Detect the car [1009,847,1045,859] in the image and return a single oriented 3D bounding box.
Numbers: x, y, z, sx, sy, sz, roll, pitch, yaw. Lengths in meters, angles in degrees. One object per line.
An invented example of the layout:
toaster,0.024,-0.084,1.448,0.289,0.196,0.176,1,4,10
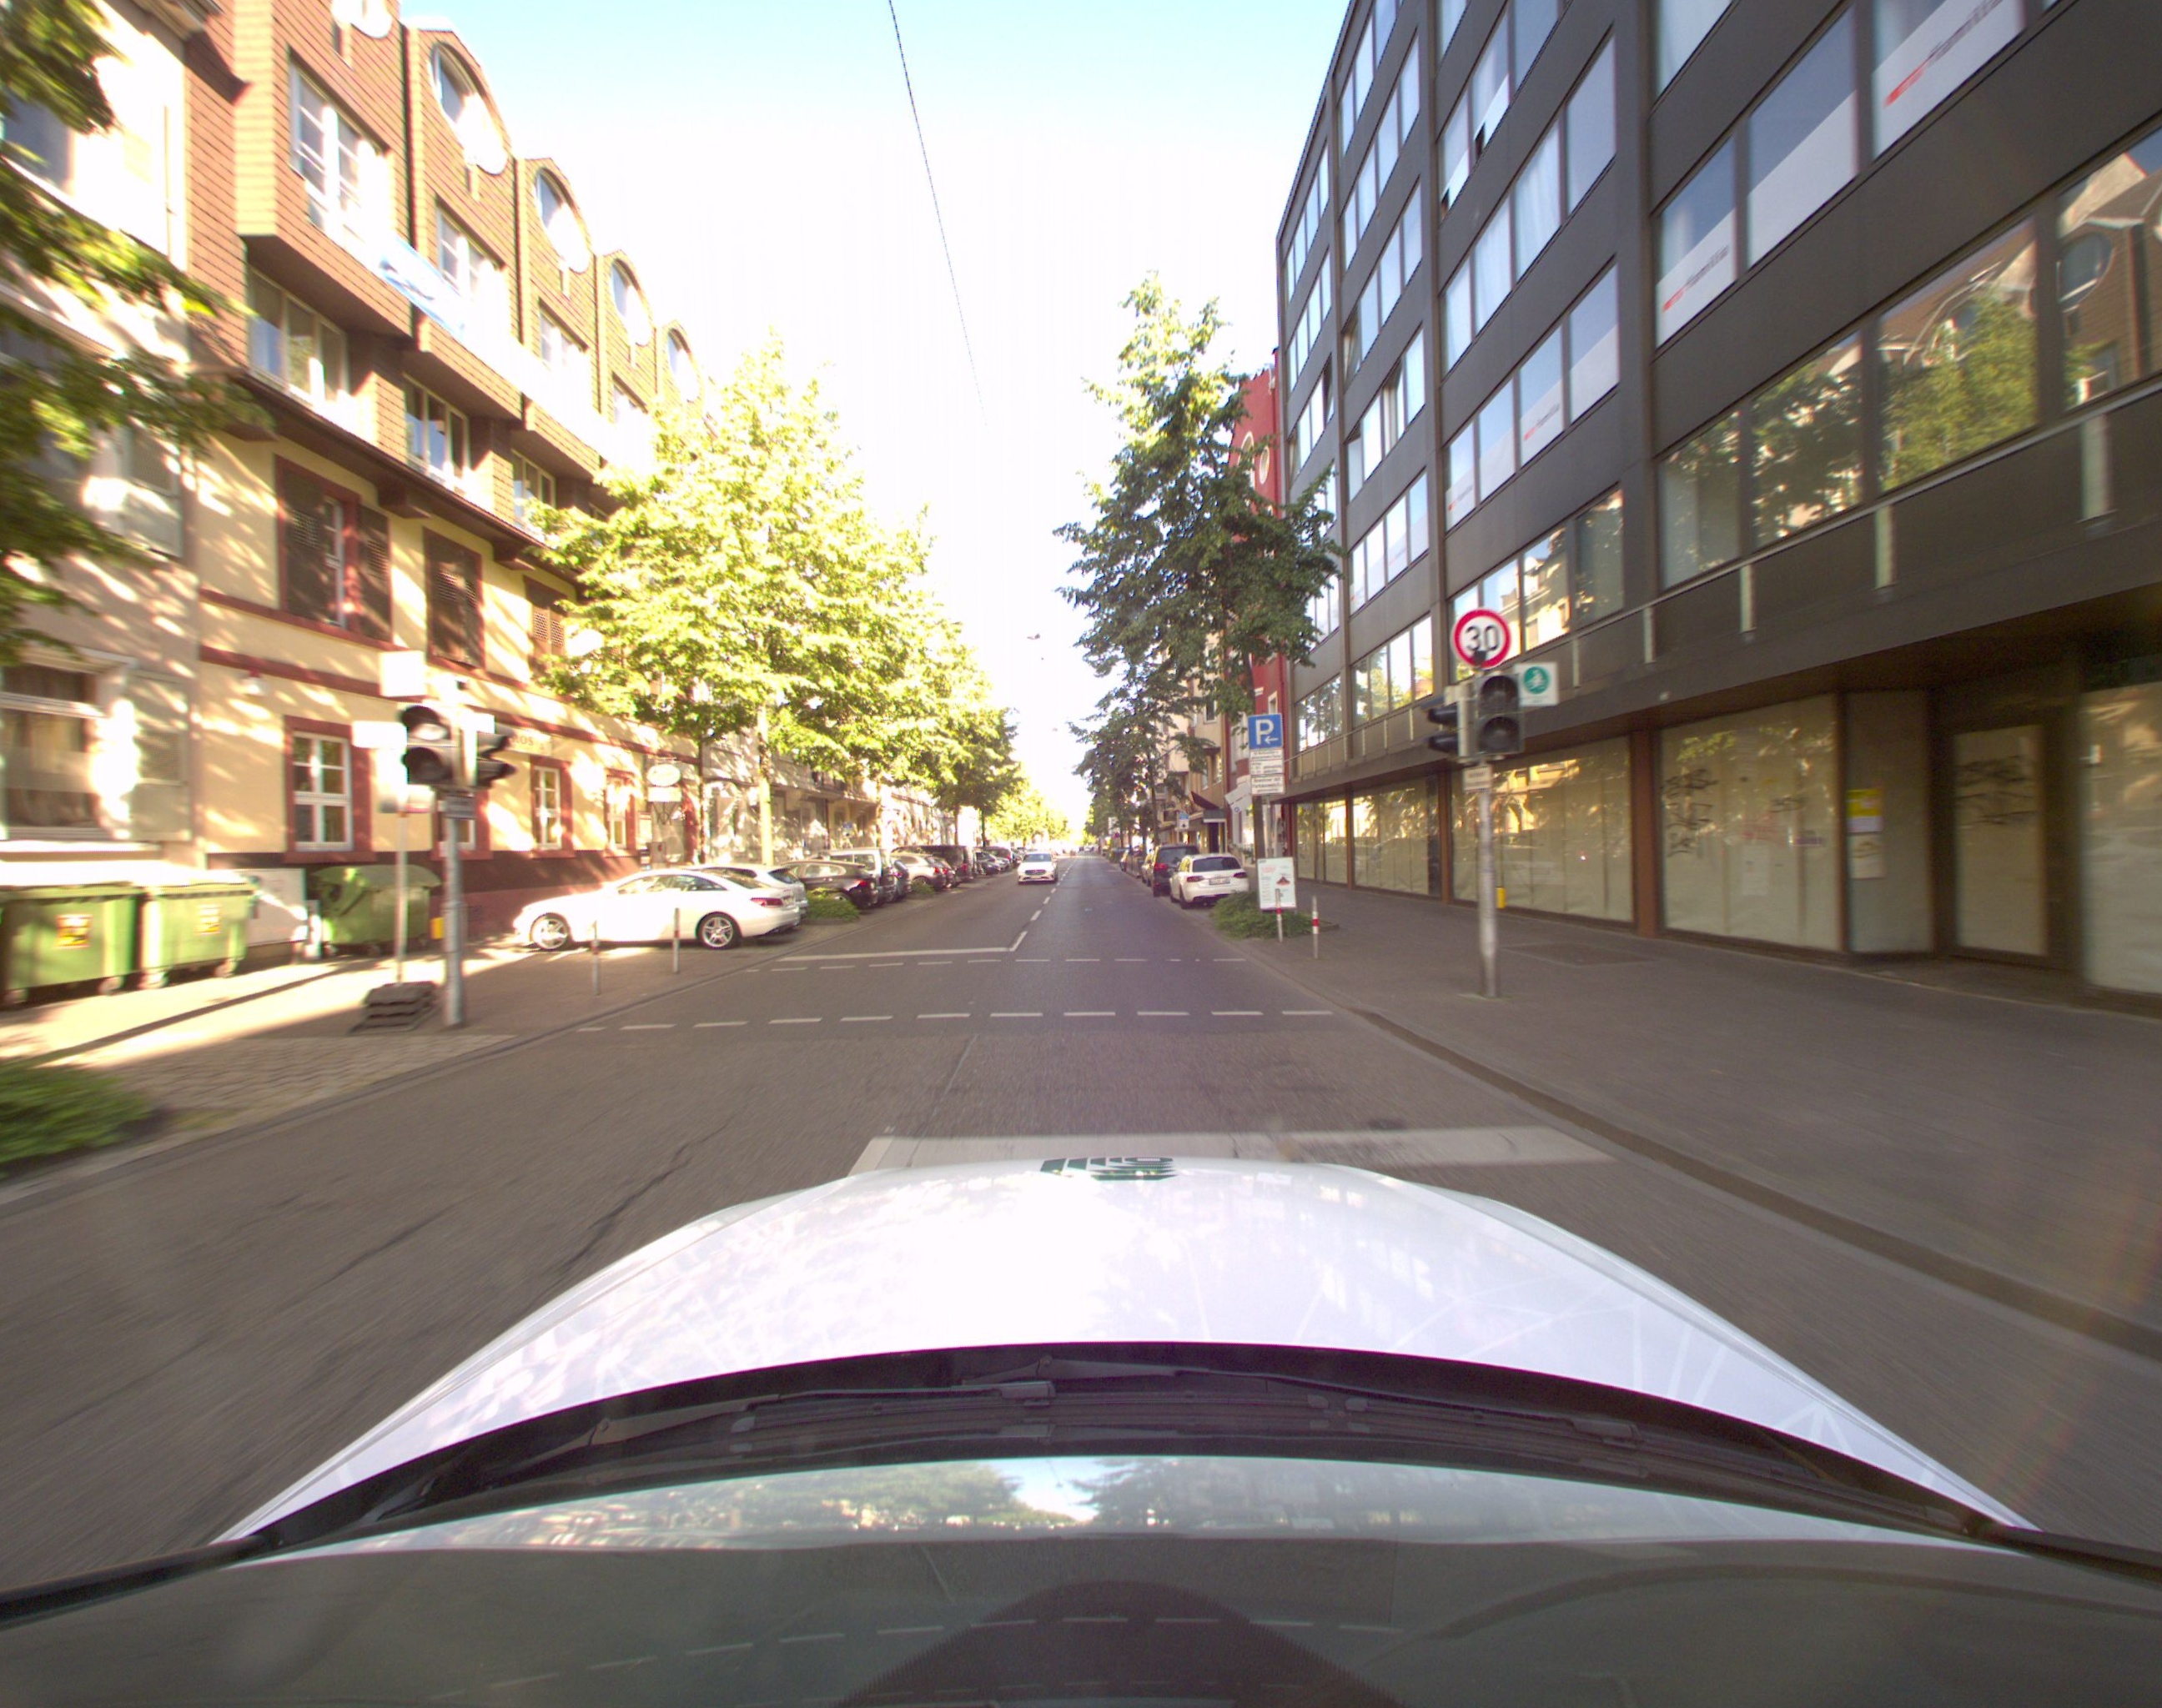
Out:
car,-7.092,-0.181,107.414,4.670,1.465,1.806,-2,0,-3

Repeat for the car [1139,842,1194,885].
car,3.652,0.370,35.680,1.816,1.596,4.842,-5,1,0

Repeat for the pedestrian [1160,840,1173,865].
pedestrian,5.855,-0.077,55.653,0.506,1.695,0.623,-3,0,-37

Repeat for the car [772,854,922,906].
car,-7.714,0.830,27.091,4.320,1.544,1.919,-1,0,4

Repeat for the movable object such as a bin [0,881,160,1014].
movable object such as a bin,-11.671,1.022,9.302,0.825,1.355,1.249,-1,0,3

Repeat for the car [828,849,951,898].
car,-7.378,0.720,31.743,4.328,1.733,1.915,-2,0,-2

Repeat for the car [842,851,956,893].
car,-7.565,0.738,34.215,4.328,1.595,1.915,-2,0,-2

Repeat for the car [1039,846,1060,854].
car,-6.280,-0.866,162.150,3.975,1.390,1.999,-2,1,-1

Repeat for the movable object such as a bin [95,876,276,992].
movable object such as a bin,-11.614,0.995,10.627,0.814,1.362,1.347,-1,0,3

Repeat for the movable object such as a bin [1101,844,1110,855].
movable object such as a bin,3.770,-0.714,124.187,1.136,1.562,1.463,-3,1,8

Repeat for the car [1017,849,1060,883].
car,-2.045,0.532,40.214,1.904,1.544,4.352,-2,0,-1

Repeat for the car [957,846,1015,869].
car,-7.740,0.294,66.551,4.450,1.772,1.917,-2,0,1

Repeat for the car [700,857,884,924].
car,-7.576,0.910,21.772,4.342,1.544,1.957,-2,0,-12

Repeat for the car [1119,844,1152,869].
car,3.643,0.152,55.103,1.816,1.472,4.912,-5,1,0

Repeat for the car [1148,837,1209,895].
car,3.421,0.343,29.314,1.814,1.777,4.936,-5,1,4

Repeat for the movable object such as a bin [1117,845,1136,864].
movable object such as a bin,3.615,0.011,64.825,1.394,1.453,1.146,-2,1,0

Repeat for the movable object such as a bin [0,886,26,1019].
movable object such as a bin,-11.690,1.042,8.021,0.905,1.367,1.262,-1,0,3

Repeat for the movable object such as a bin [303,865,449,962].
movable object such as a bin,-11.497,0.935,13.350,1.129,1.444,1.383,-1,0,3

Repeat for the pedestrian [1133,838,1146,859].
pedestrian,5.670,-0.513,78.893,0.916,1.935,0.765,-2,1,25

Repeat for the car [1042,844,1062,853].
car,-6.182,-1.255,175.060,3.968,1.694,2.003,-2,1,4

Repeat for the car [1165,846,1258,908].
car,3.534,0.557,22.887,1.816,1.402,4.842,-5,1,1

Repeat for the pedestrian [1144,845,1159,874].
pedestrian,3.785,0.287,43.937,0.690,1.536,0.776,-2,0,1

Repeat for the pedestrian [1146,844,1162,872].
pedestrian,4.169,0.230,46.328,0.706,1.536,0.772,-2,0,14

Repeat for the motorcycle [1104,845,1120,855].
motorcycle,4.333,-0.535,113.856,1.979,1.330,0.908,-3,1,-13

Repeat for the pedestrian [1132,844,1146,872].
pedestrian,3.322,0.210,46.350,0.648,1.536,0.979,-2,0,-2

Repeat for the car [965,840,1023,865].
car,-7.409,-0.113,69.533,4.663,1.950,1.917,-2,0,1

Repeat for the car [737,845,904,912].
car,-7.745,0.704,24.493,4.323,1.824,1.931,-2,0,2

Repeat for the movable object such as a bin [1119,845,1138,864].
movable object such as a bin,3.679,0.049,63.642,1.394,1.453,1.146,-2,1,0

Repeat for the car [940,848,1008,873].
car,-7.479,0.445,57.131,4.453,1.541,1.916,-2,0,-1

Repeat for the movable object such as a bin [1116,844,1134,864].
movable object such as a bin,3.573,-0.035,65.988,1.326,1.542,1.146,-2,1,0

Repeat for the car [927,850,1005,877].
car,-7.036,0.577,50.183,4.449,1.541,1.918,-2,0,2

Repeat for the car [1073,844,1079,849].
car,-1.490,-2.156,244.125,1.797,1.435,4.408,-4,1,-1

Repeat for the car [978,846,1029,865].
car,-7.435,0.103,78.266,4.663,1.712,1.809,-2,0,1

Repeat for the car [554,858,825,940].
car,-8.069,0.895,17.191,4.691,1.492,1.997,-1,1,-5

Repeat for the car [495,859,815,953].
car,-7.480,0.880,14.747,4.691,1.492,1.997,-1,-1,-5

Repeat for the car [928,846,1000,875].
car,-7.530,0.400,52.666,4.325,1.709,1.916,-2,0,0

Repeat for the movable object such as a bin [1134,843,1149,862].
movable object such as a bin,4.874,-0.136,66.000,1.074,1.431,1.295,-2,1,0

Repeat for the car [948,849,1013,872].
car,-7.369,0.495,59.887,4.447,1.541,1.918,-1,0,3

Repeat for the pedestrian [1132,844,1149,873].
pedestrian,3.312,0.254,45.051,0.744,1.536,0.811,-2,0,14

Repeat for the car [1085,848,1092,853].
car,1.923,-0.977,221.128,1.787,1.411,4.000,-2,1,0

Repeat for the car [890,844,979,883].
car,-7.508,0.484,41.962,4.339,1.834,1.910,-2,0,-10

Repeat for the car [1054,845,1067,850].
car,-6.103,-1.910,242.788,3.975,1.499,1.999,-2,1,-1

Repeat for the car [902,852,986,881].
car,-7.484,0.679,44.832,4.328,1.439,1.915,-2,0,-2

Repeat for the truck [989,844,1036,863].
truck,-7.631,-0.068,91.400,5.069,1.938,1.999,-3,1,-1

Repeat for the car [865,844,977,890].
car,-7.147,0.554,36.743,4.555,1.926,1.931,-2,0,2
